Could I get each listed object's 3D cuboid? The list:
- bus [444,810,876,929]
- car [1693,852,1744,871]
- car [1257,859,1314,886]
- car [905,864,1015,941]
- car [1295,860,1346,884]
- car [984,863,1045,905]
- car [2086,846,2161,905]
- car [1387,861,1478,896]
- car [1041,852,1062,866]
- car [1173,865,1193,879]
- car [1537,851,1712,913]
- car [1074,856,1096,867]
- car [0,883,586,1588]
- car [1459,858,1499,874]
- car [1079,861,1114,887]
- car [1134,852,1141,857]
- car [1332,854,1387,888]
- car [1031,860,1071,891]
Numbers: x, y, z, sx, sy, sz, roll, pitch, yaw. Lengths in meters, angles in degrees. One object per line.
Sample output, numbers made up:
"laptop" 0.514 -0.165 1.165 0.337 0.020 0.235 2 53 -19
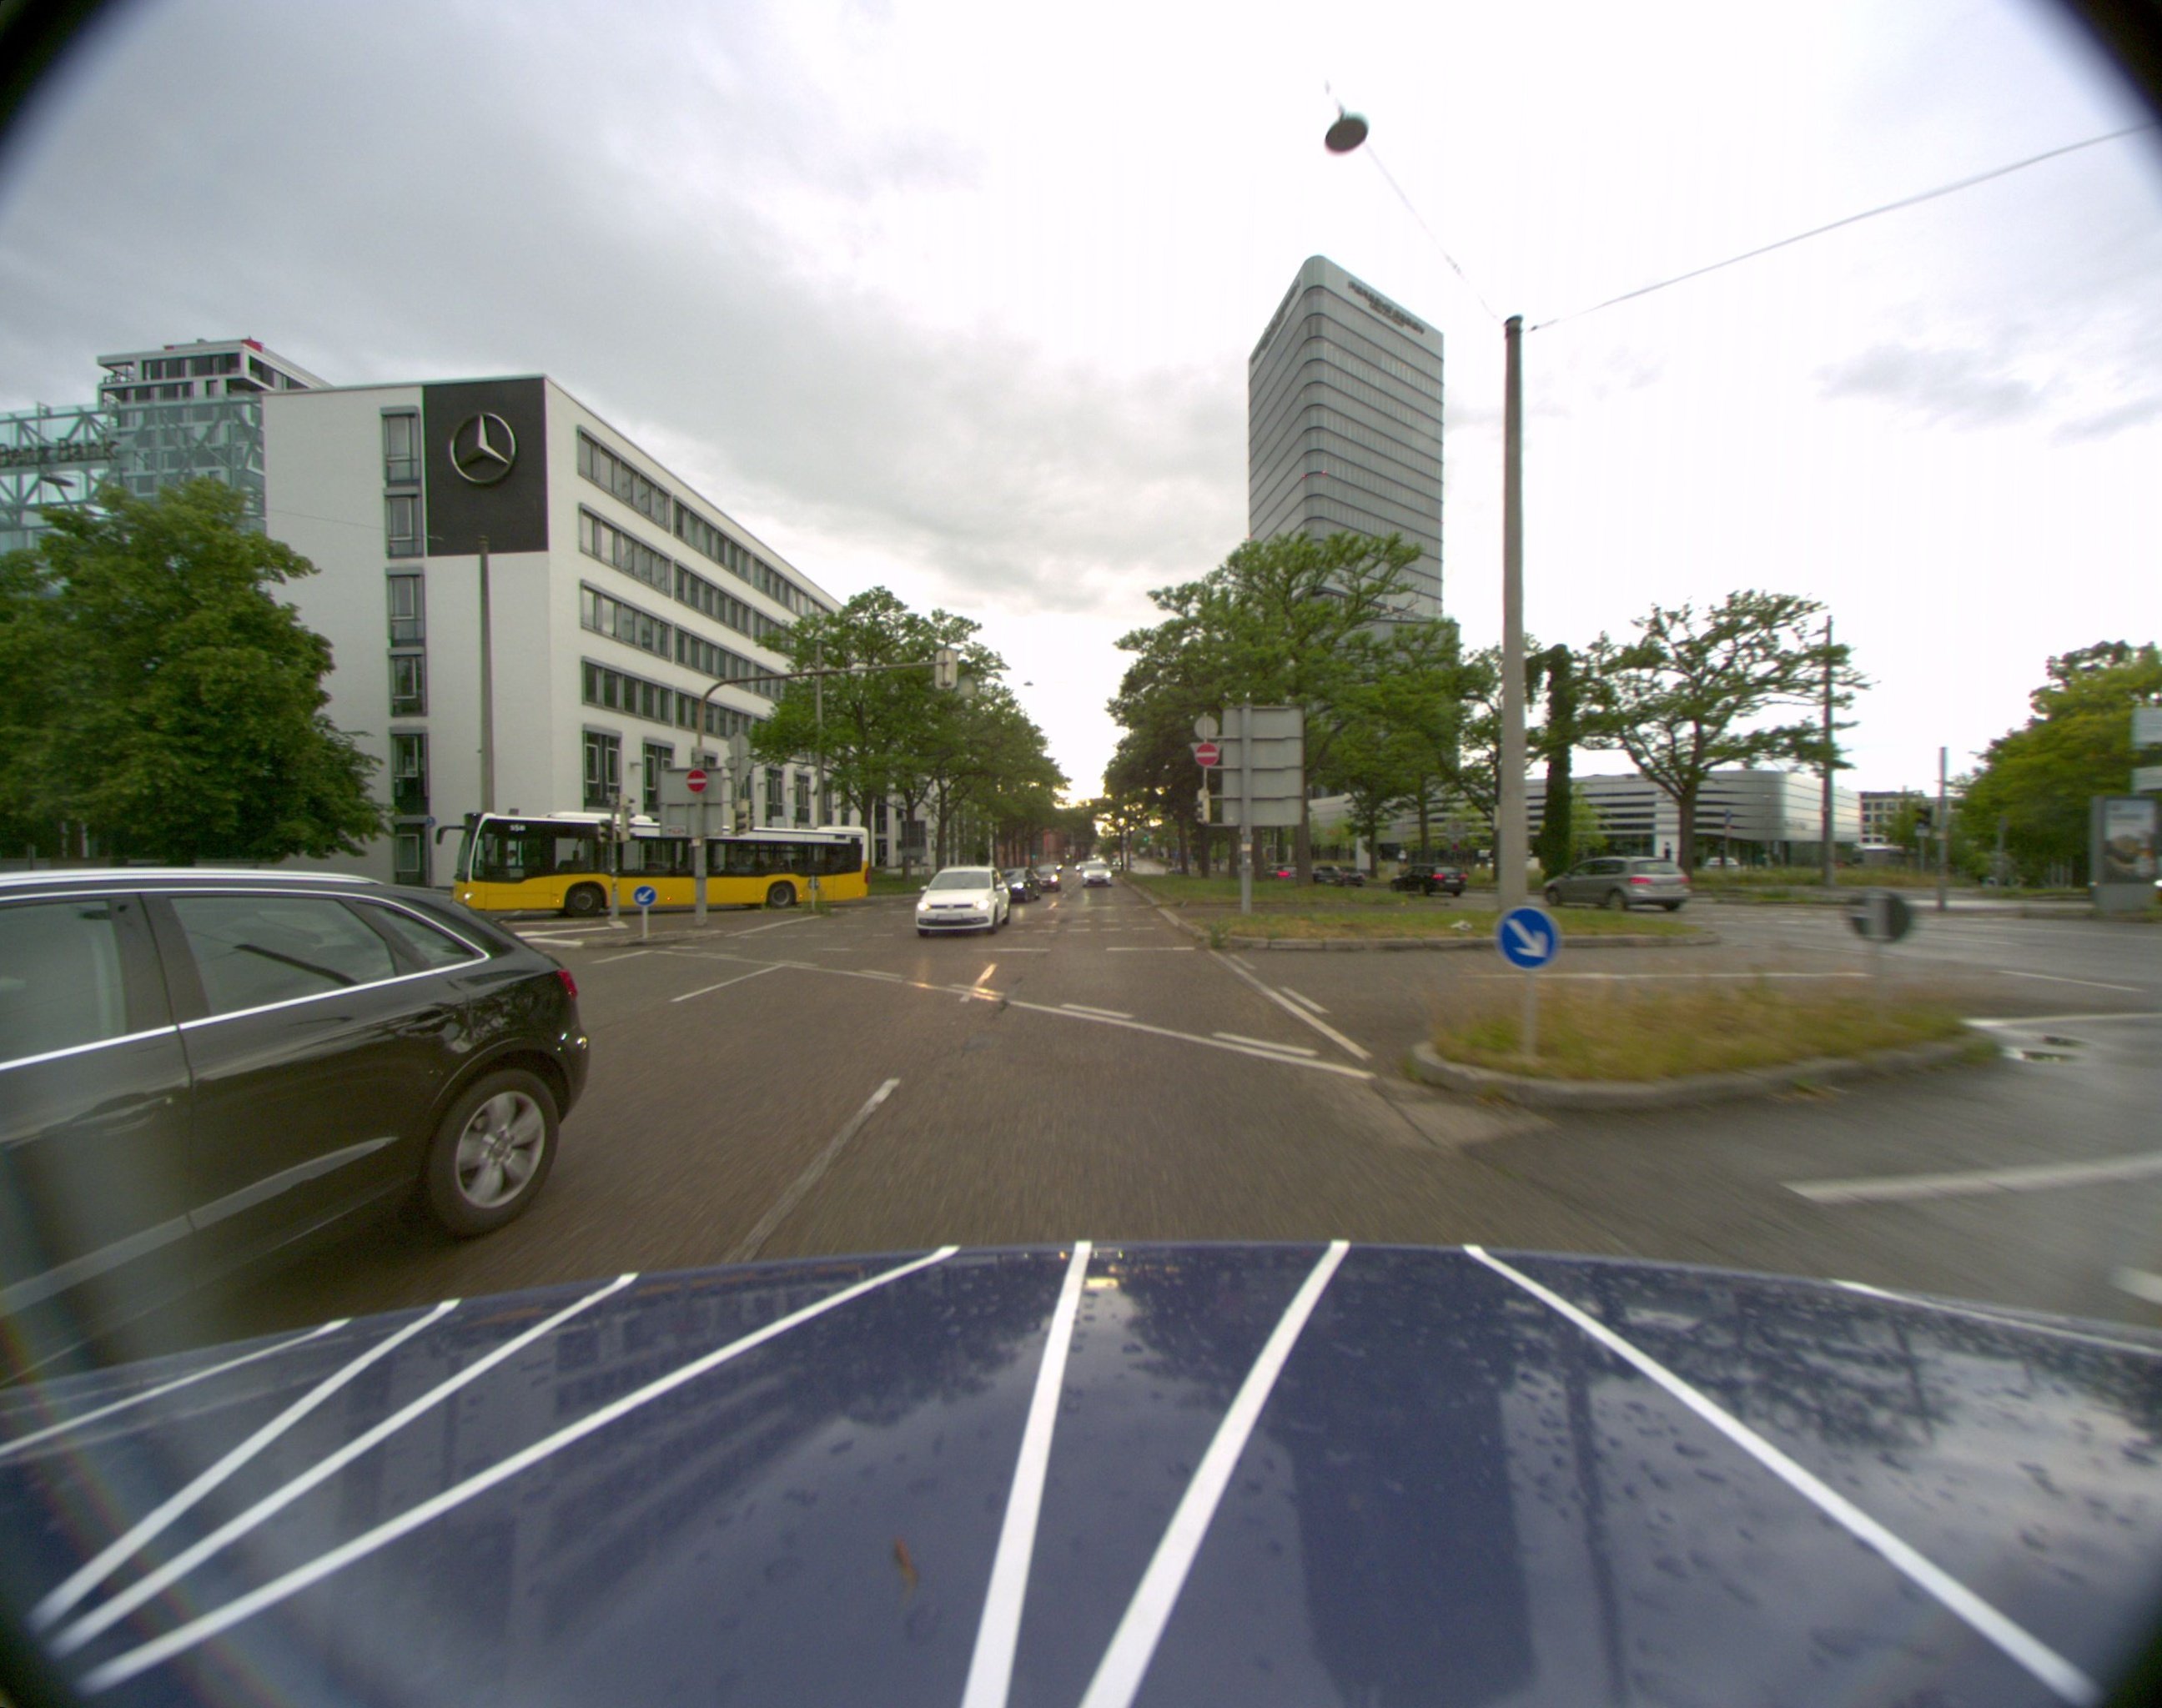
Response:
"bus" -12.988 0.311 25.220 2.728 3.133 12.169 -3 0 44
"car" 46.044 0.529 54.954 1.616 1.237 4.005 -2 1 22
"car" 12.090 1.067 45.224 1.906 1.480 4.891 -1 0 -2
"car" -2.605 1.003 17.257 1.745 1.423 3.812 -2 0 1
"car" 14.961 1.123 47.661 1.998 1.379 4.000 -1 0 2
"car" -2.554 1.140 30.183 1.878 1.346 4.332 -3 1 2
"car" 34.675 0.643 24.285 4.003 1.652 1.997 -3 1 -20
"car" 15.856 1.042 34.544 1.829 1.464 4.667 -1 0 -2
"car" -3.398 0.598 87.578 1.998 1.575 4.001 0 0 3
"car" 11.133 1.955 83.148 1.790 1.387 3.882 -1 0 3
"car" 16.020 0.767 22.719 1.999 1.566 4.194 -3 0 -4
"car" 0.605 1.112 113.431 1.996 1.477 4.005 0 0 19
"car" -3.507 0.955 1.745 1.889 1.586 4.114 -1 0 2
"car" 40.192 1.230 76.708 4.006 1.405 1.774 -3 1 -31
"car" 0.989 1.160 45.972 1.998 1.455 4.000 -1 0 2
"car" 17.650 0.288 237.722 1.894 1.444 3.999 -3 1 0
"car" 18.476 1.172 50.647 1.834 1.612 4.571 5 -7 -1
"car" -1.527 1.105 40.234 1.625 1.426 3.552 -2 1 5
